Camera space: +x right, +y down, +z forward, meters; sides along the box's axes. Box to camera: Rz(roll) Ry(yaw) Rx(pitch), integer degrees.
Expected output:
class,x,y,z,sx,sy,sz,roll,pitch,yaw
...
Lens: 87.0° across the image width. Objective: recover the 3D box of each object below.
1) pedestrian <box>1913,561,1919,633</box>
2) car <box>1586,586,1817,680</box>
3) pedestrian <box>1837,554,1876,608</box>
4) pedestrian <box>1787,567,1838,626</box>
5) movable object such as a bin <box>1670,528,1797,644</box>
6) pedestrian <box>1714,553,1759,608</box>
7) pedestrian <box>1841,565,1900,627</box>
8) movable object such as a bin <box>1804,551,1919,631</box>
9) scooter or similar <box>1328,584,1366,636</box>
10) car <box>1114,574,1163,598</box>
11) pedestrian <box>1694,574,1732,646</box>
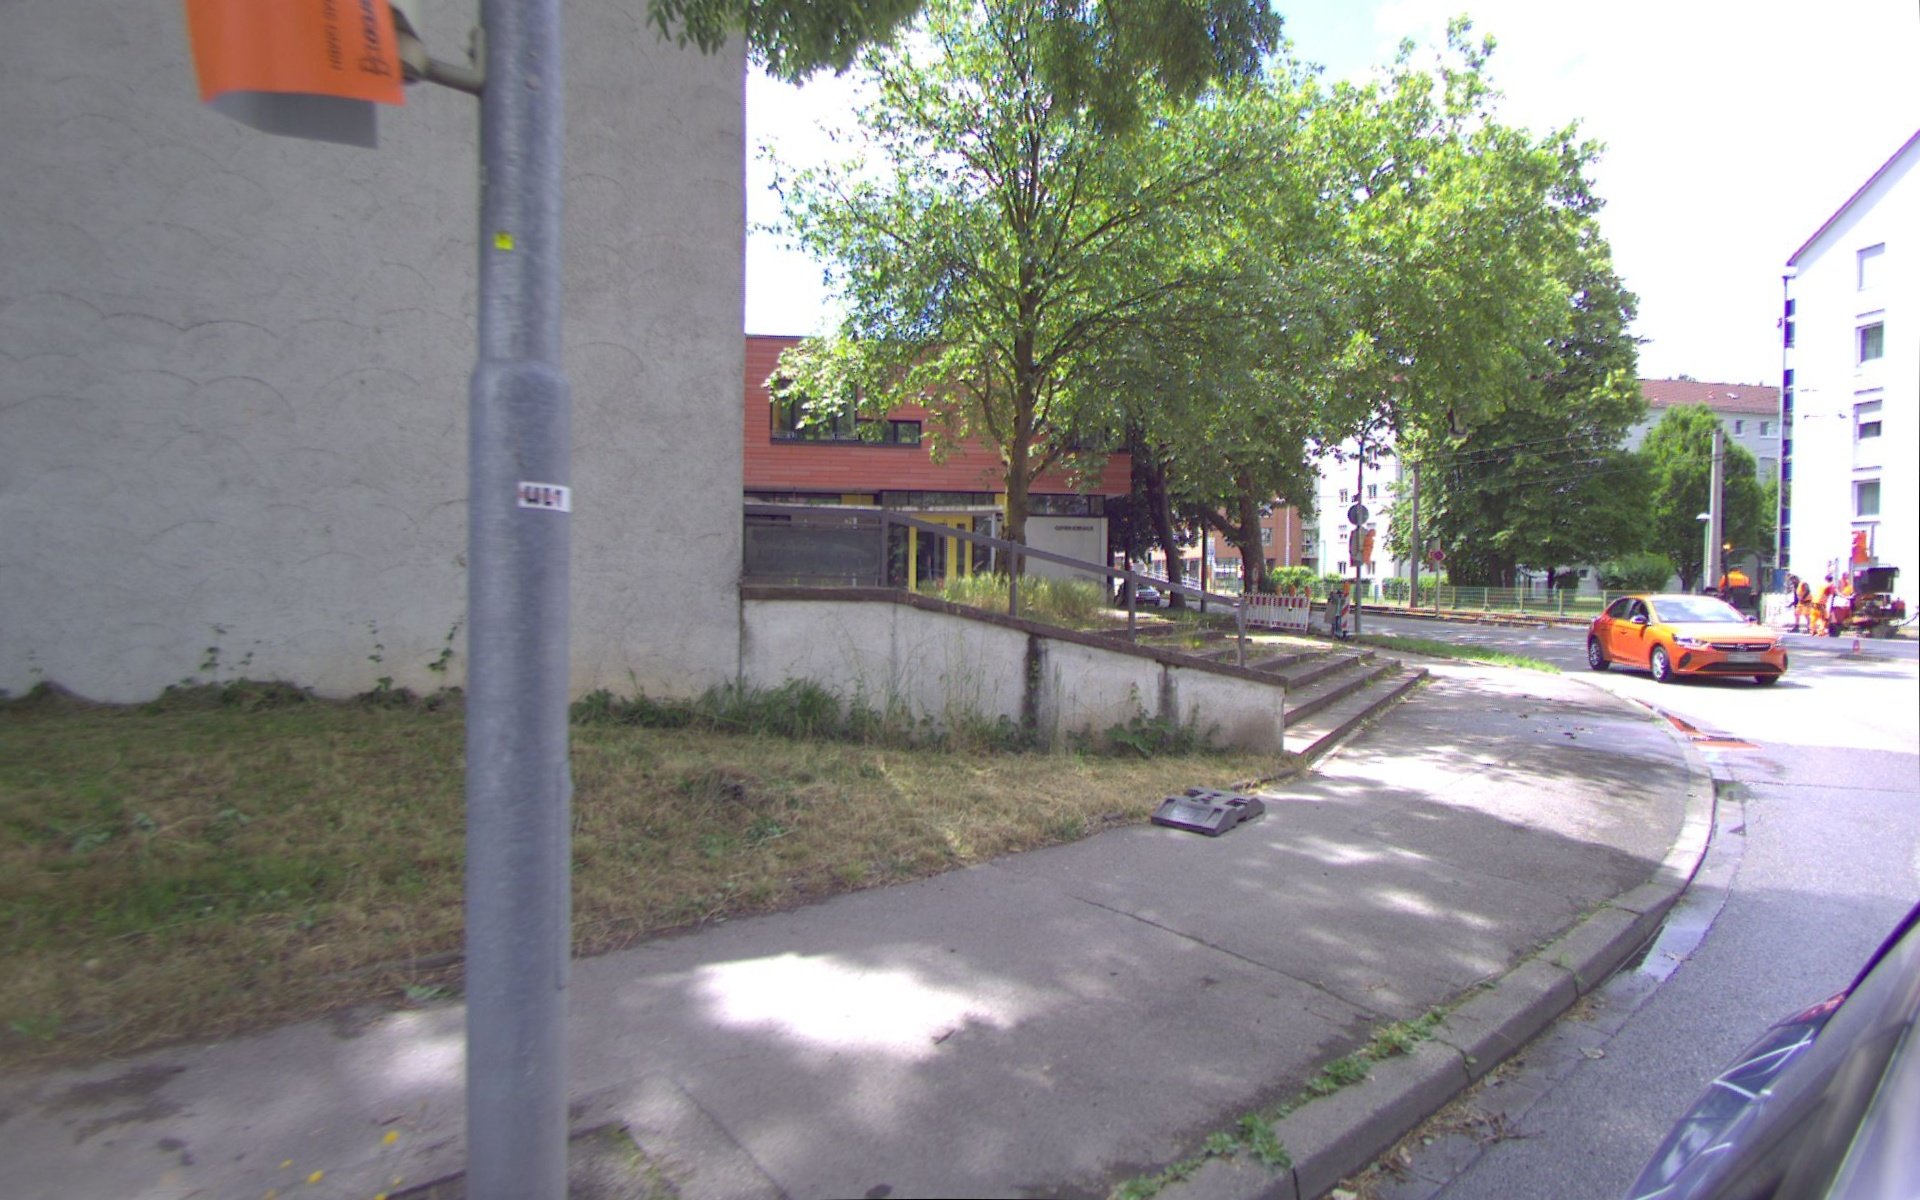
class,x,y,z,sx,sy,sz,roll,pitch,yaw
pedestrian,25.267,-0.066,26.023,0.767,1.862,0.770,1,1,-9
car,12.672,0.489,17.609,1.743,1.451,3.826,-1,0,11
pedestrian,28.814,-0.602,32.535,0.875,1.704,0.658,1,1,37
pedestrian,25.295,-0.105,30.038,0.739,1.738,0.919,0,0,-2
movable object such as a bin,18.427,-0.342,24.204,1.297,2.626,2.360,0,1,4
pedestrian,18.025,-0.452,23.503,0.541,1.232,0.617,1,1,4
pedestrian,25.982,-0.123,28.889,0.844,1.738,0.918,0,0,4
movable object such as a bin,24.911,-0.244,27.212,1.963,2.039,2.967,1,1,2
scooter or similar,9.470,0.230,24.784,0.556,1.247,1.193,1,1,7
car,10.213,-0.834,58.066,1.503,1.335,3.388,1,1,-14
pedestrian,18.111,0.226,24.356,0.461,1.703,0.559,-1,1,-4
